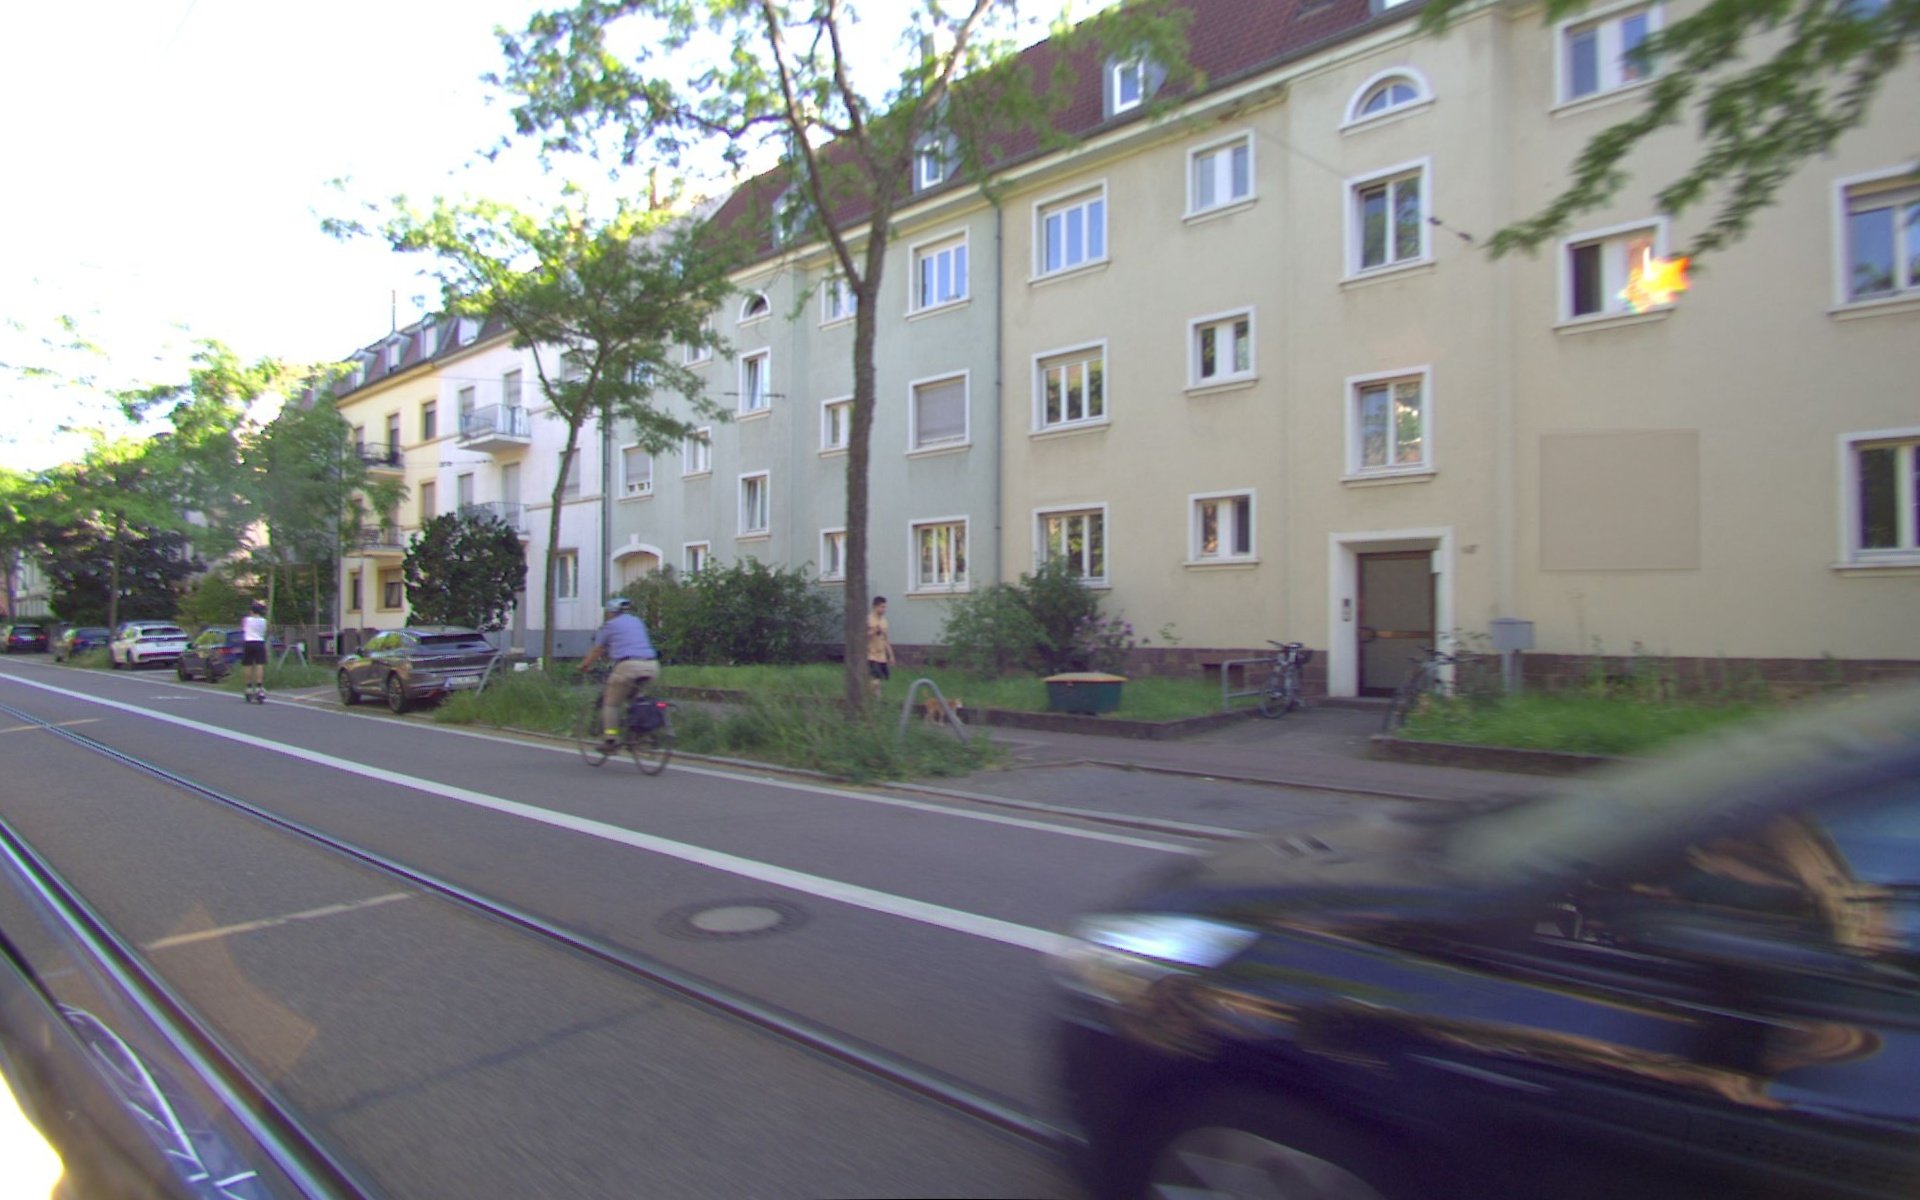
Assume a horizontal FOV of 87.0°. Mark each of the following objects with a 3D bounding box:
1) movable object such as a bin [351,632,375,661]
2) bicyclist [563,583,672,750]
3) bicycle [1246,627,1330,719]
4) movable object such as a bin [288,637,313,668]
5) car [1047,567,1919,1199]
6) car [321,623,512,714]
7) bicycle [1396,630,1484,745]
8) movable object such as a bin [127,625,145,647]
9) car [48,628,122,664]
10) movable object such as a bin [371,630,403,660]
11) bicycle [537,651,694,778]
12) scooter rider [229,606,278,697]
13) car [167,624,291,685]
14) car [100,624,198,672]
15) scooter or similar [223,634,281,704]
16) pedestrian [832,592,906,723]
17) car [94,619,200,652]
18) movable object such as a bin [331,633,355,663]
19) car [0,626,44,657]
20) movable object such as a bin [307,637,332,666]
[{"bbox_3d":[-21.130,1.640,35.818,0.733,0.983,0.553,-2,0,44],"label":"movable object such as a bin"},{"bbox_3d":[-3.581,0.685,10.571,0.939,1.652,0.619,-2,-5,41],"label":"bicyclist"},{"bbox_3d":[4.775,1.019,14.646,0.521,1.186,1.888,-1,0,38],"label":"bicycle"},{"bbox_3d":[-22.446,1.780,34.441,0.733,0.983,0.553,-2,0,44],"label":"movable object such as a bin"},{"bbox_3d":[2.268,0.683,1.377,4.068,1.450,1.682,-1,-2,40],"label":"car"},{"bbox_3d":[-10.334,1.217,19.119,4.204,1.496,1.798,-1,-1,41],"label":"car"},{"bbox_3d":[5.699,0.986,11.964,0.521,1.186,1.888,-1,0,38],"label":"bicycle"},{"bbox_3d":[-40.651,1.788,49.927,0.670,1.074,0.535,-2,-2,41],"label":"movable object such as a bin"},{"bbox_3d":[-36.560,1.890,42.254,4.330,1.417,1.688,-1,-1,40],"label":"car"},{"bbox_3d":[-20.972,1.648,37.062,0.733,1.054,0.835,-2,0,44],"label":"movable object such as a bin"},{"bbox_3d":[-3.623,1.145,10.564,1.912,1.186,0.620,-1,-5,41],"label":"bicycle"},{"bbox_3d":[-13.648,0.998,19.547,0.786,1.712,0.491,-2,-5,41],"label":"scooter rider"},{"bbox_3d":[-20.194,1.442,27.893,4.434,1.522,1.740,-1,-1,40],"label":"car"},{"bbox_3d":[-28.048,1.621,34.961,4.367,1.522,1.799,-1,-1,40],"label":"car"},{"bbox_3d":[-13.683,1.318,19.556,1.376,1.307,0.515,-1,-5,41],"label":"scooter or similar"},{"bbox_3d":[-1.314,0.816,14.598,0.813,1.815,0.684,-1,-3,41],"label":"pedestrian"},{"bbox_3d":[-43.509,1.858,54.196,1.981,1.671,4.125,-1,-1,39],"label":"car"},{"bbox_3d":[-21.561,1.675,35.368,0.733,0.983,0.553,-2,0,44],"label":"movable object such as a bin"},{"bbox_3d":[-51.168,2.228,54.837,4.483,1.553,1.758,-1,-1,41],"label":"car"},{"bbox_3d":[-22.031,1.764,34.829,0.733,0.983,0.553,-2,0,44],"label":"movable object such as a bin"}]
